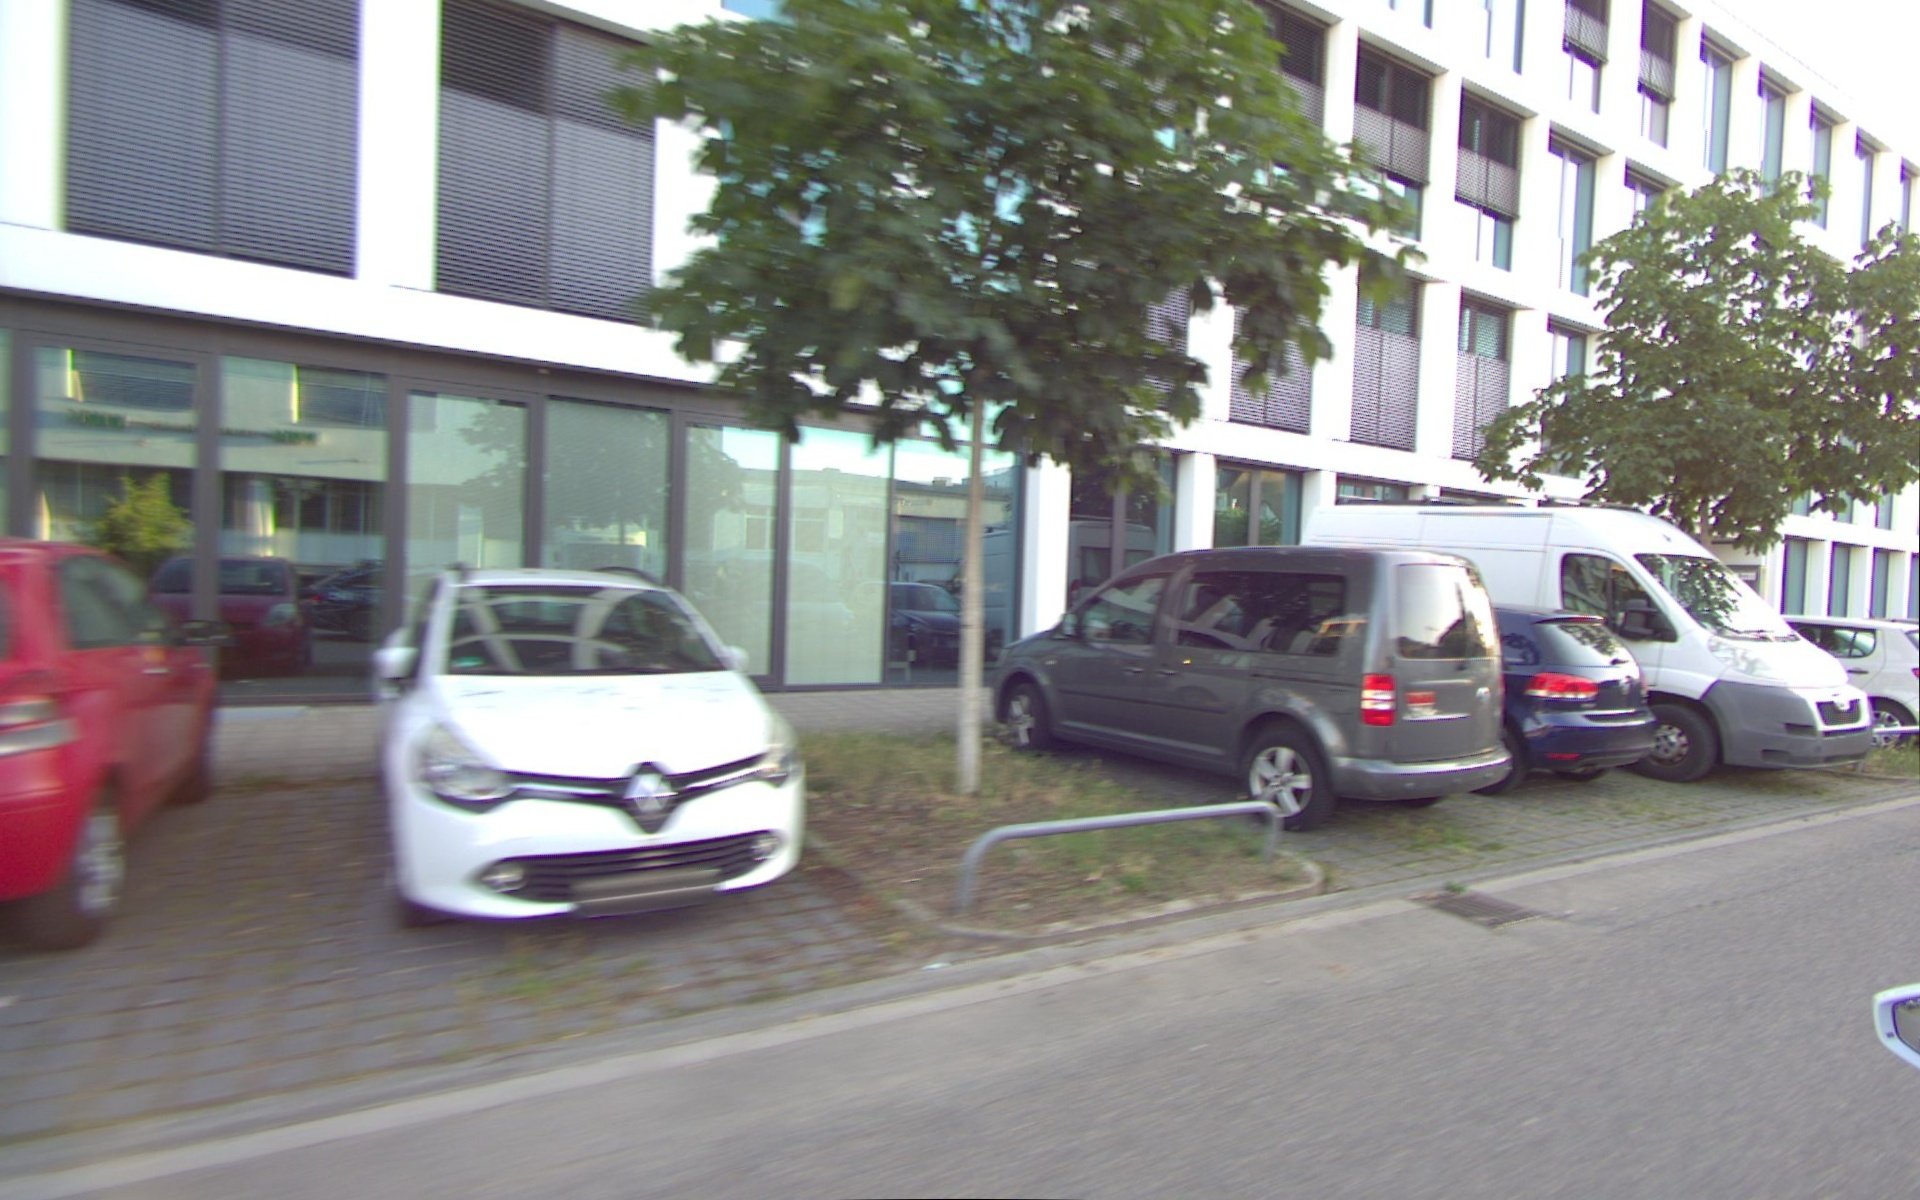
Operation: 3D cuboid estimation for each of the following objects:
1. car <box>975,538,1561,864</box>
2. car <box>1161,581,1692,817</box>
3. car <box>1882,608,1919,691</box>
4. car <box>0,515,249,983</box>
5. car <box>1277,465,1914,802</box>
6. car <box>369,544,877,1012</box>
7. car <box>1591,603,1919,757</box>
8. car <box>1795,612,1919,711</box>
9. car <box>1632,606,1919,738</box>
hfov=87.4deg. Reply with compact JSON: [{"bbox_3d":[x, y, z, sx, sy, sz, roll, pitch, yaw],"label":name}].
[{"bbox_3d":[2.062,0.480,7.841,1.798,1.841,4.080,1,3,-35],"label":"car"},{"bbox_3d":[3.992,0.682,9.271,1.757,1.520,4.080,1,2,-35],"label":"car"},{"bbox_3d":[21.886,1.162,20.122,1.979,1.729,4.600,1,2,-28],"label":"car"},{"bbox_3d":[-4.646,0.383,4.731,1.824,1.539,4.085,1,2,-32],"label":"car"},{"bbox_3d":[6.244,0.160,10.793,2.054,2.668,5.354,1,2,-30],"label":"car"},{"bbox_3d":[-2.180,0.511,5.519,1.761,1.539,4.085,1,2,-32],"label":"car"},{"bbox_3d":[10.479,0.900,12.830,1.688,1.515,3.688,1,2,-31],"label":"car"},{"bbox_3d":[16.749,1.094,16.924,1.675,1.543,3.759,1,2,-33],"label":"car"},{"bbox_3d":[12.516,0.978,14.502,1.773,1.515,4.287,1,2,-30],"label":"car"}]
